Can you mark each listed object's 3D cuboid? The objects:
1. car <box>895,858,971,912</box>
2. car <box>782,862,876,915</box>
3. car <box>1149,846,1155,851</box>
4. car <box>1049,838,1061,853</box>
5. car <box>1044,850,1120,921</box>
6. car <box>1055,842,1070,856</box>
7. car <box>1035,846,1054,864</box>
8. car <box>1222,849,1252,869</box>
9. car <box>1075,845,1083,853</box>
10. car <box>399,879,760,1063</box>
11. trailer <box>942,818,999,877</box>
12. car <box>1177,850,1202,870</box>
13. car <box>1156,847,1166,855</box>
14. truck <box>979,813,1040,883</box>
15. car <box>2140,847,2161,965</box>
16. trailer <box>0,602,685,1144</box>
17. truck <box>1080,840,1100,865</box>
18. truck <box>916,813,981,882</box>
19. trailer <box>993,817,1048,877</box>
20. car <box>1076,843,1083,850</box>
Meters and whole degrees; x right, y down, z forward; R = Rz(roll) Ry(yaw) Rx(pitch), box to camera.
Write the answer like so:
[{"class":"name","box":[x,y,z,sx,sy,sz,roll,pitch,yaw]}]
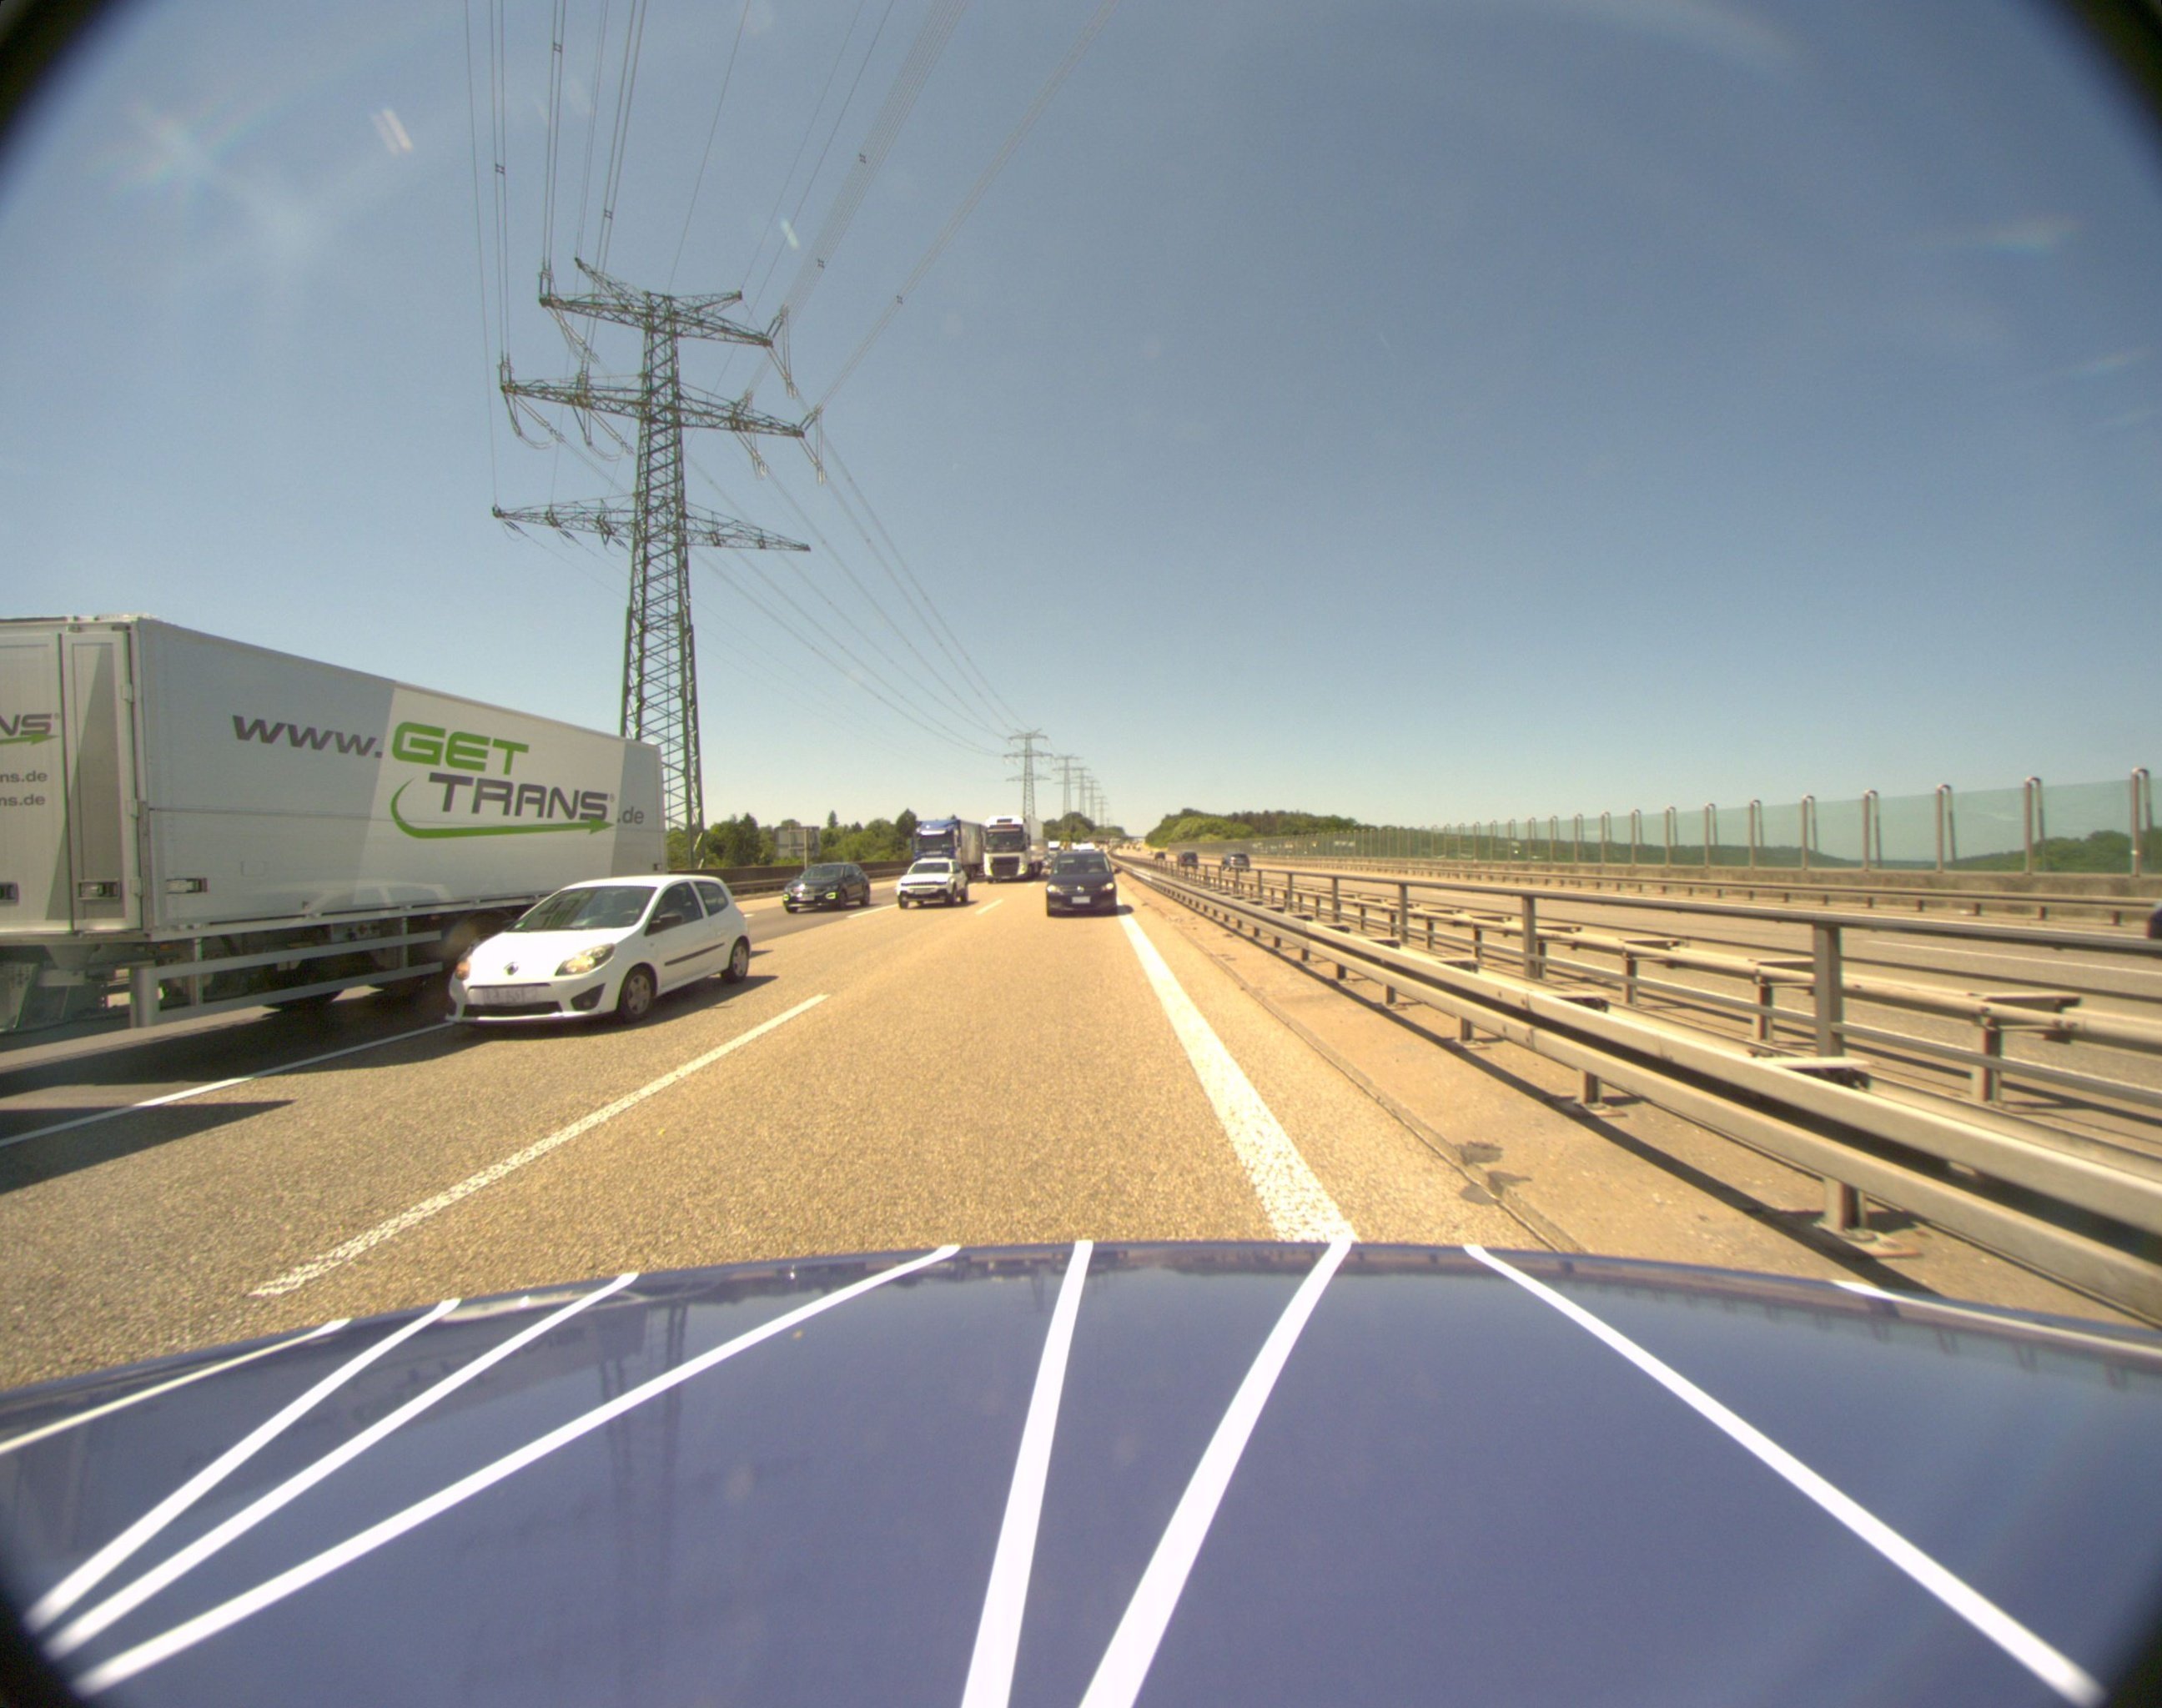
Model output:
[{"class":"car","box":[-4.808,0.966,25.199,1.722,1.526,3.753,-2,1,0]},{"class":"car","box":[-8.265,1.087,25.256,1.709,1.497,3.888,-2,1,1]},{"class":"car","box":[22.286,-1.703,238.331,1.608,1.386,3.676,0,1,1]},{"class":"car","box":[-5.884,-1.962,172.439,2.273,3.304,6.287,-3,1,0]},{"class":"car","box":[0.024,0.748,19.987,1.739,1.607,3.911,-2,1,0]},{"class":"car","box":[-2.888,-0.803,118.692,1.998,2.002,3.999,-3,1,1]},{"class":"car","box":[-3.884,0.128,80.896,1.672,1.761,3.846,-3,1,1]},{"class":"car","box":[12.965,0.418,63.309,1.759,1.538,3.999,1,1,1]},{"class":"car","box":[-0.593,-1.245,189.373,1.890,2.002,3.999,-3,1,1]},{"class":"car","box":[-5.238,1.106,8.591,1.583,1.432,3.629,-2,1,1]},{"class":"trailer","box":[-8.262,-0.554,58.166,2.543,3.971,10.883,-3,1,0]},{"class":"car","box":[10.351,0.580,72.595,1.759,1.710,4.102,-3,-2,1]},{"class":"car","box":[15.726,-0.589,149.267,1.784,1.560,4.387,1,1,3]},{"class":"truck","box":[-4.239,-0.398,46.764,2.914,3.870,6.739,-3,1,0]},{"class":"car","box":[17.072,0.796,9.450,1.787,1.774,4.302,1,0,0]},{"class":"trailer","box":[-8.459,0.158,9.141,2.851,3.574,8.290,-3,0,0]},{"class":"truck","box":[1.099,-0.249,89.889,2.100,2.700,5.864,-3,1,1]},{"class":"truck","box":[-8.345,-0.421,48.750,2.517,3.945,7.926,-2,0,1]},{"class":"trailer","box":[-4.220,-0.543,55.026,2.898,3.847,9.772,-3,1,1]},{"class":"car","box":[-0.309,-2.116,212.005,1.782,2.002,3.999,-3,1,1]}]
